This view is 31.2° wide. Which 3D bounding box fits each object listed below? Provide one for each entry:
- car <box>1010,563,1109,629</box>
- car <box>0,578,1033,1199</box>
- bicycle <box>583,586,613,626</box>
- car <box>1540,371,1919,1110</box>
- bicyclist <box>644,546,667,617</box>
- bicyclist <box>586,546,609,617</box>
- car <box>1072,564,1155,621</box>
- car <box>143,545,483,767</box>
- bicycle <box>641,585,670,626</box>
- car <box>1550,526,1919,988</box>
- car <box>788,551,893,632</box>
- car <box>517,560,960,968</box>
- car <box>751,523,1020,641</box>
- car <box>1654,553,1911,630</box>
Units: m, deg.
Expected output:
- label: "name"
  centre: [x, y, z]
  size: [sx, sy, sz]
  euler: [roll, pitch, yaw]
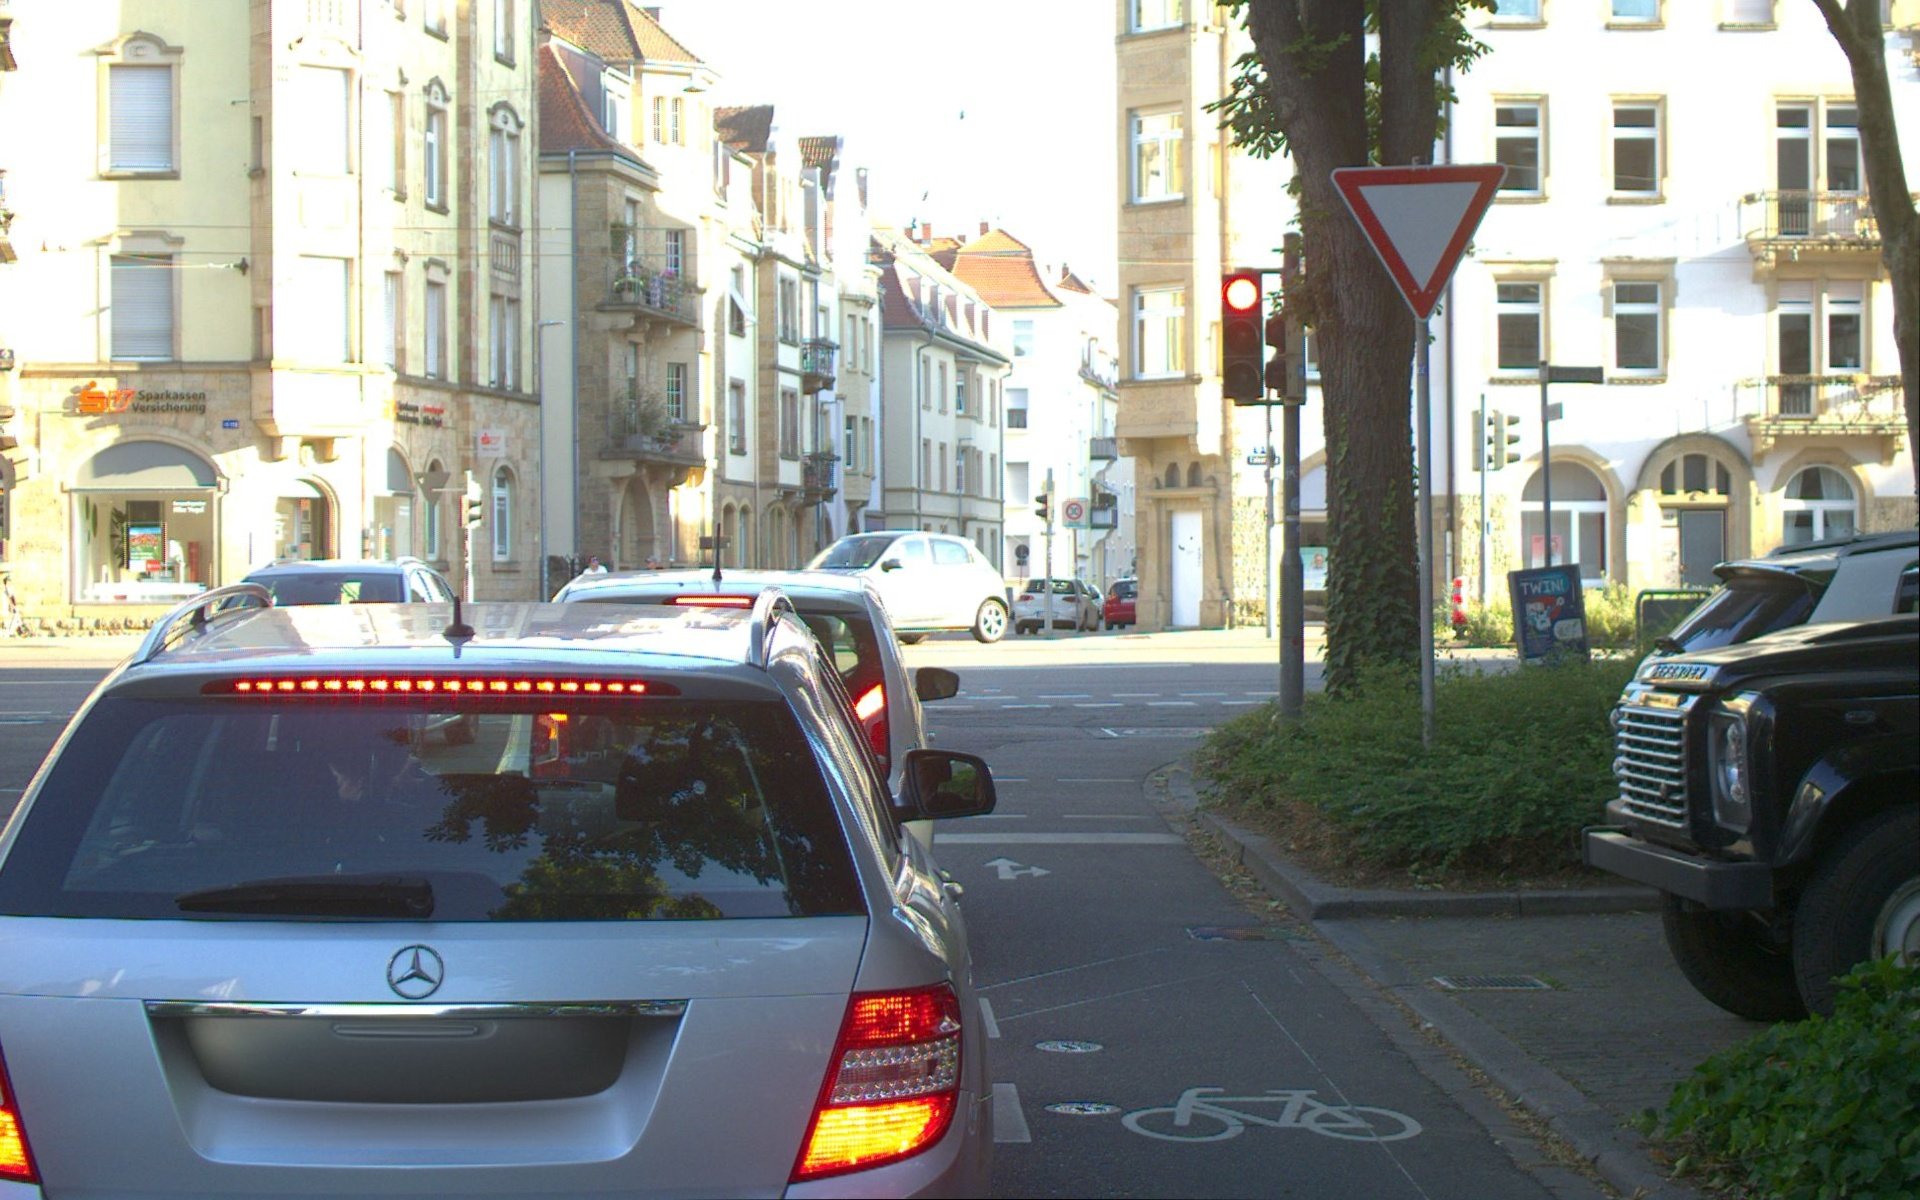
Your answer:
- label: "car"
  centre: [2.502, -0.116, 85.758]
  size: [1.722, 1.473, 3.998]
  euler: [-2, 1, 12]
- label: "car"
  centre: [-0.850, 0.701, 6.483]
  size: [1.690, 1.424, 3.493]
  euler: [1, 1, -3]
- label: "bicycle"
  centre: [-7.724, 0.128, 73.412]
  size: [0.568, 0.832, 1.566]
  euler: [0, 1, -4]
- label: "car"
  centre: [4.171, 0.286, 10.174]
  size: [4.490, 1.949, 1.793]
  euler: [-2, 1, -3]
- label: "bicyclist"
  centre: [-6.496, -0.399, 73.347]
  size: [0.466, 1.516, 0.694]
  euler: [0, 1, -4]
- label: "bicyclist"
  centre: [-7.732, -0.396, 73.348]
  size: [0.466, 1.509, 0.655]
  euler: [0, 1, -4]
- label: "car"
  centre: [4.571, -0.223, 102.083]
  size: [1.722, 1.473, 3.998]
  euler: [-4, 1, 12]
- label: "car"
  centre: [-4.751, 0.350, 25.825]
  size: [1.781, 1.457, 4.300]
  euler: [0, 2, -1]
- label: "bicycle"
  centre: [-6.491, 0.114, 73.339]
  size: [0.568, 0.832, 1.566]
  euler: [0, 1, -4]
- label: "car"
  centre: [4.181, 0.499, 12.962]
  size: [3.480, 1.580, 1.711]
  euler: [-2, 1, -6]
- label: "car"
  centre: [-2.941, -0.226, 85.614]
  size: [1.938, 1.952, 4.149]
  euler: [0, 1, 8]
- label: "car"
  centre: [-0.837, 0.553, 13.745]
  size: [1.533, 1.386, 3.600]
  euler: [0, 1, -2]
- label: "car"
  centre: [-0.976, -0.273, 46.458]
  size: [1.619, 1.496, 3.583]
  euler: [1, 2, 42]
- label: "car"
  centre: [11.874, -0.129, 49.730]
  size: [3.364, 1.065, 1.380]
  euler: [0, 1, -1]
